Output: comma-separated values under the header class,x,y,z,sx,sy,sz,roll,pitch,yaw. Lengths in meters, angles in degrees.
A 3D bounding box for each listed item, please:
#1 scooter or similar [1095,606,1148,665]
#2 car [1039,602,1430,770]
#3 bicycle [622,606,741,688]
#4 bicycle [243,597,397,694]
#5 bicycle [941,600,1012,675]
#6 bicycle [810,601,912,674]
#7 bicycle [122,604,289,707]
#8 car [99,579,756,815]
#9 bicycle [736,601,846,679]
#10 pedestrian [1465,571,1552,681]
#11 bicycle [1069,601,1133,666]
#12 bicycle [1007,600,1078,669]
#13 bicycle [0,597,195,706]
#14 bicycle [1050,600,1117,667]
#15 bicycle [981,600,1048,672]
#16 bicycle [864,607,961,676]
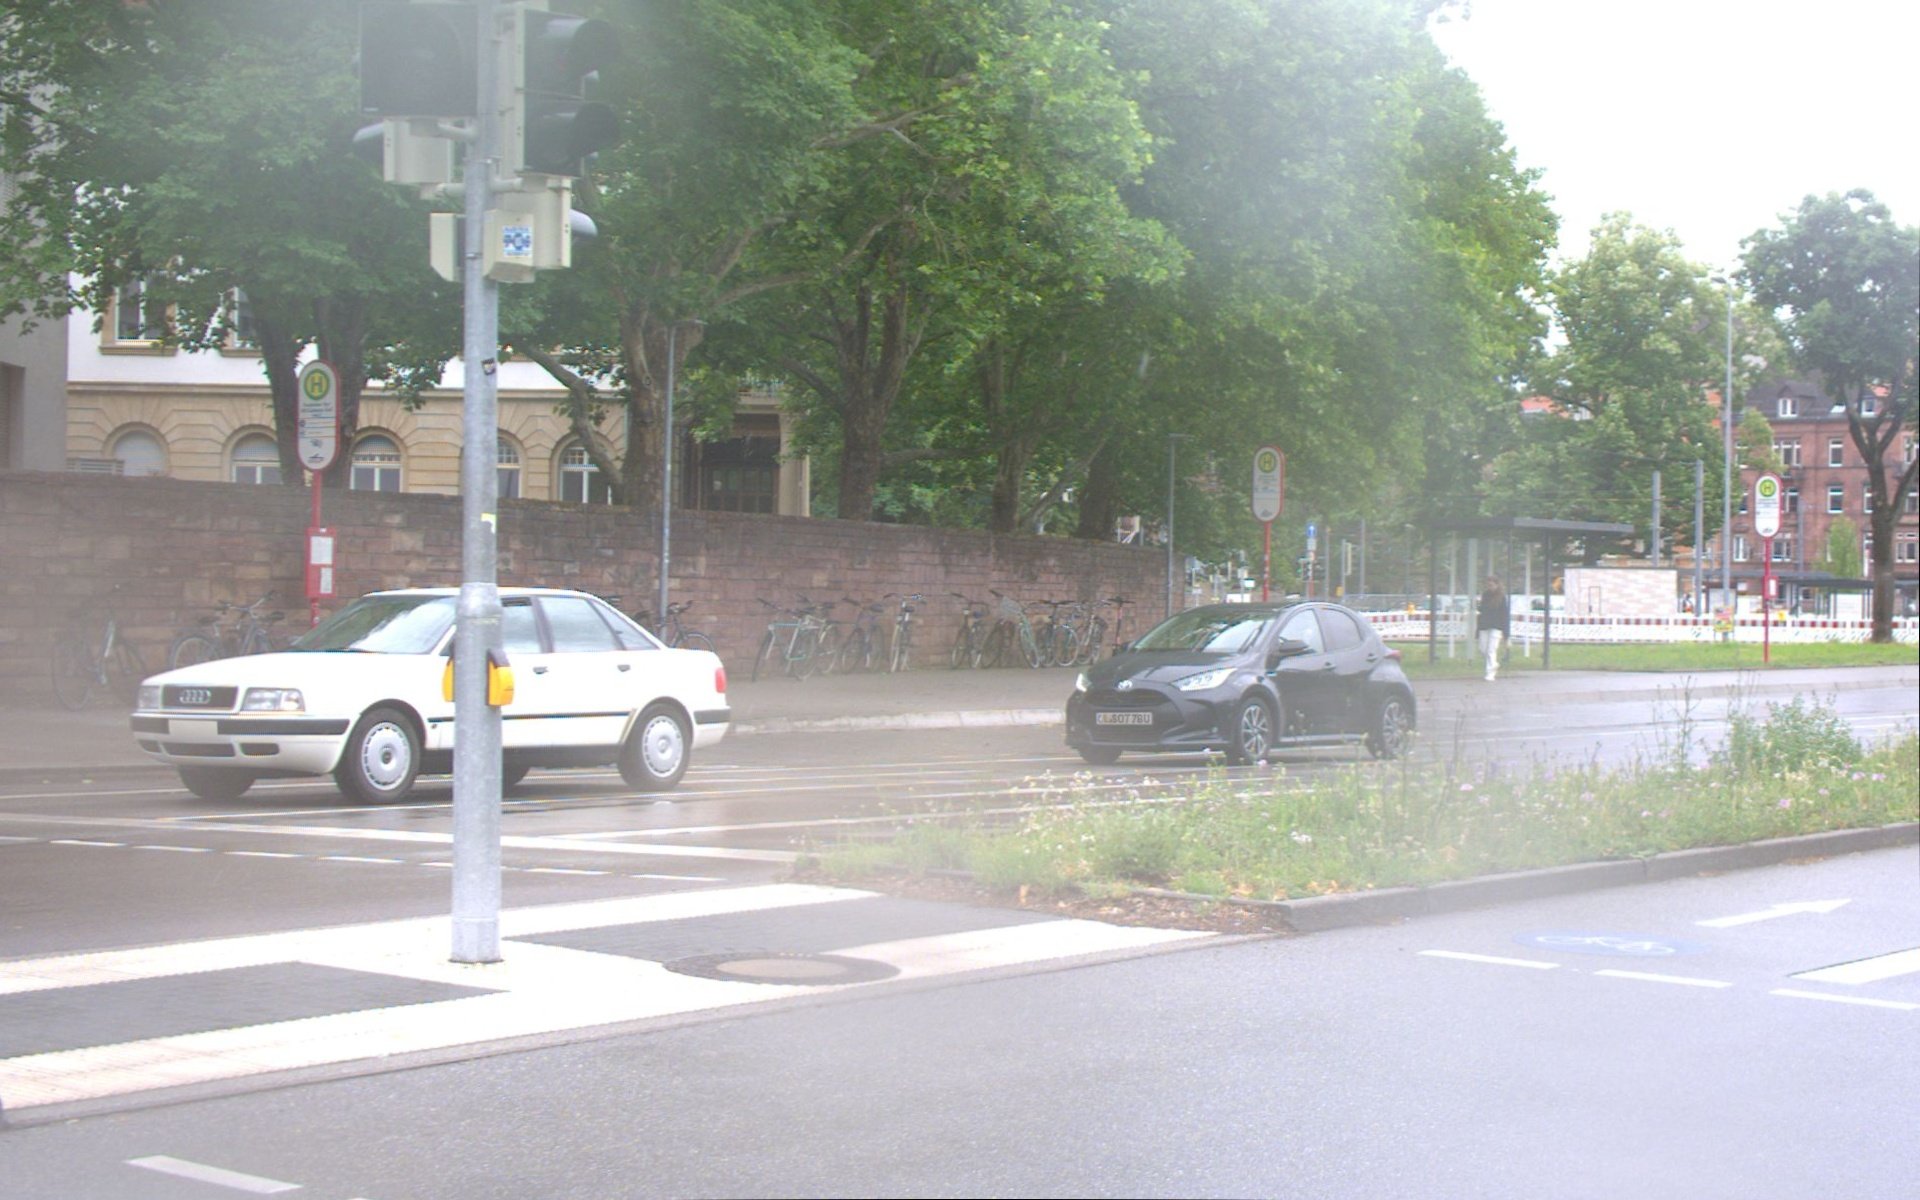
class,x,y,z,sx,sy,sz,roll,pitch,yaw
scooter or similar,2.971,0.647,63.147,0.572,1.043,1.361,1,0,20
car,2.538,0.743,30.998,1.627,1.411,4.057,0,-1,36
bicycle,-3.494,0.582,43.217,0.732,0.980,1.699,2,0,25
bicycle,-6.754,0.476,36.362,0.732,0.980,1.699,2,0,25
bicycle,0.262,0.569,53.242,0.573,1.132,1.990,1,0,16
bicycle,-1.377,0.515,48.121,0.732,0.980,1.699,2,0,25
bicycle,-7.520,0.545,34.332,0.732,0.980,1.699,2,0,25
car,-3.419,0.607,22.907,1.599,1.411,4.514,0,-1,36
bicycle,-2.210,0.521,45.188,0.732,0.980,1.699,2,0,25
pedestrian,8.598,0.403,53.876,0.870,1.690,1.397,1,0,30
bicycle,2.537,0.589,61.764,0.573,1.132,1.989,1,0,20
bicycle,1.397,0.566,57.587,0.573,1.132,1.989,1,0,20
bicycle,-8.169,0.480,32.554,0.732,0.980,1.861,2,0,29
bicycle,2.147,0.568,59.736,0.573,1.132,1.989,1,0,20
bicycle,0.886,0.568,55.577,0.573,1.132,1.990,1,0,16
bicycle,-0.689,0.598,50.226,0.732,0.980,1.699,2,0,25
